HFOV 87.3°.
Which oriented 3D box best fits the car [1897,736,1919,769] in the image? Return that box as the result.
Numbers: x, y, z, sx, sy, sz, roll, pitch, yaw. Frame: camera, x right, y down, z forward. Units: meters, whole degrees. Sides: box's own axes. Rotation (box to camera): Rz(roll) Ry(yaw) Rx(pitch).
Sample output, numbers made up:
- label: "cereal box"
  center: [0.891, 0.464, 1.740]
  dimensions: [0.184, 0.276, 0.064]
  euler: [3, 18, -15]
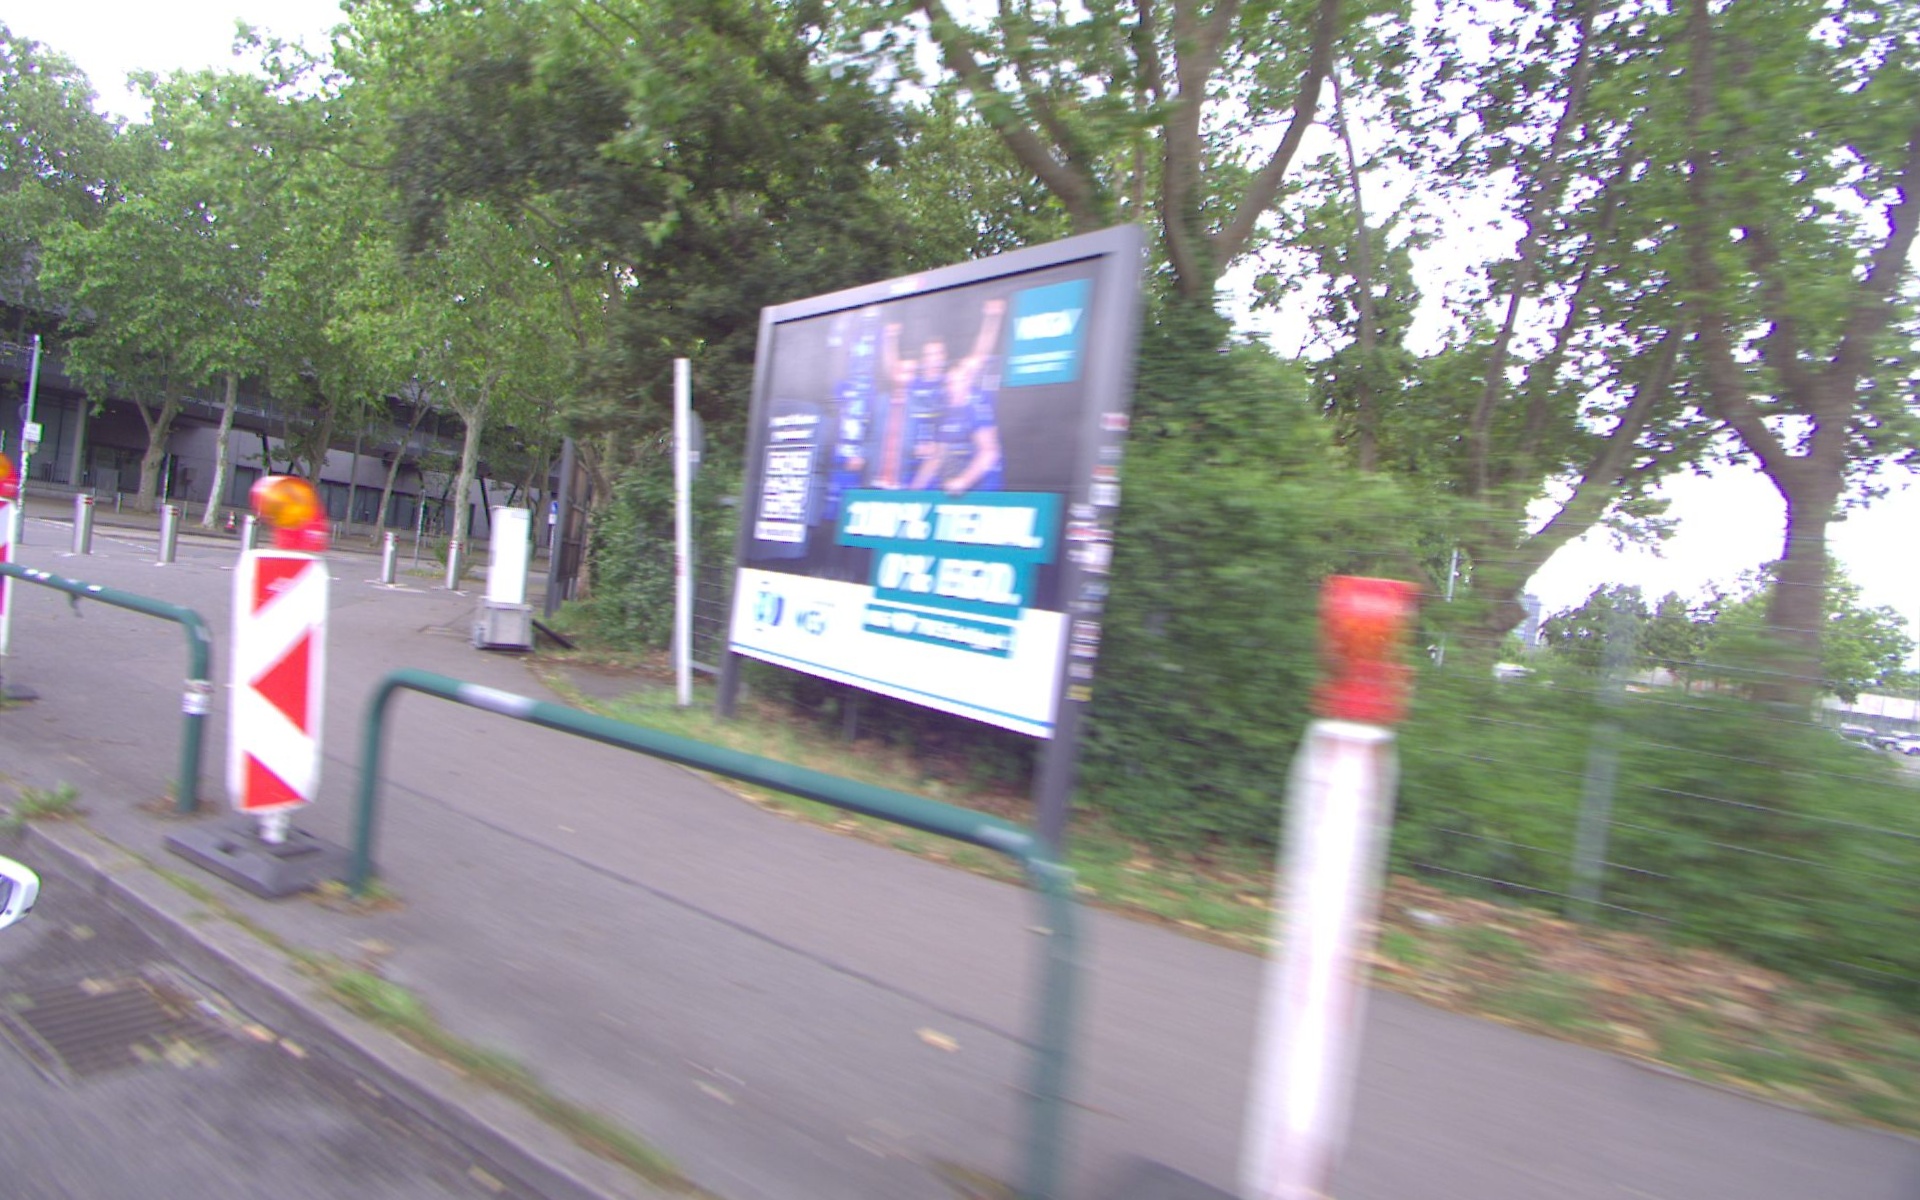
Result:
- label: "car"
  center: [72.767, 11.630, 74.862]
  dimensions: [3.934, 2.256, 1.798]
  euler: [7, -1, 32]

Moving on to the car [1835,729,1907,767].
- label: "car"
  center: [82.581, 13.363, 91.290]
  dimensions: [4.314, 2.652, 1.797]
  euler: [7, -1, 32]
